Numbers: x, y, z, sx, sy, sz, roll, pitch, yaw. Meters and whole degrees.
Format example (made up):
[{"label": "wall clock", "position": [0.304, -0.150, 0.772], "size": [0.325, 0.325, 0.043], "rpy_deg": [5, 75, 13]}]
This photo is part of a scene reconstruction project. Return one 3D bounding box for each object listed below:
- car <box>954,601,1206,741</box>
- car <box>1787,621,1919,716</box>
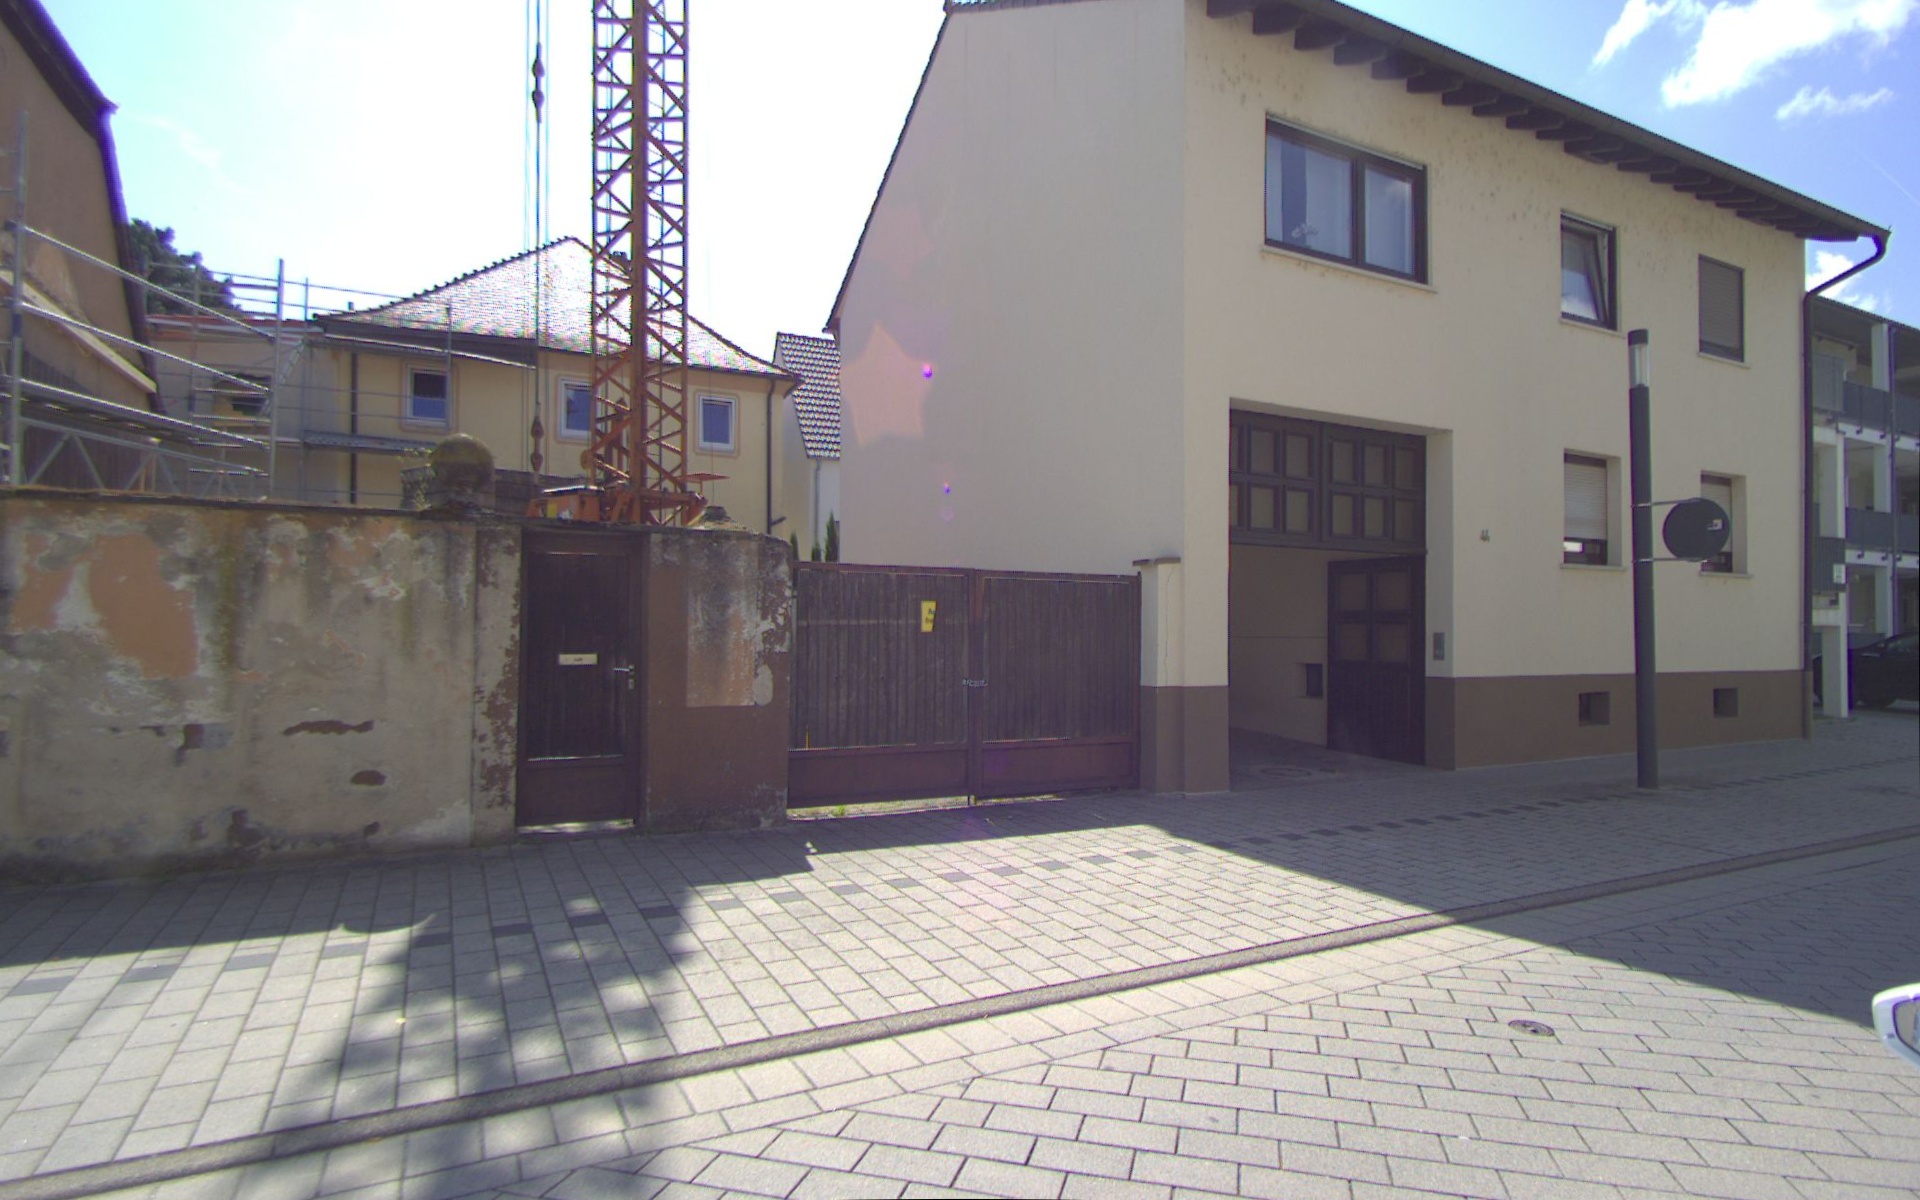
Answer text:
[{"label": "car", "position": [1.547, 0.888, 14.516], "size": [1.863, 1.647, 3.977], "rpy_deg": [1, 1, -23]}, {"label": "car", "position": [18.097, 1.265, 18.404], "size": [1.762, 1.680, 4.202], "rpy_deg": [1, 0, -28]}]
